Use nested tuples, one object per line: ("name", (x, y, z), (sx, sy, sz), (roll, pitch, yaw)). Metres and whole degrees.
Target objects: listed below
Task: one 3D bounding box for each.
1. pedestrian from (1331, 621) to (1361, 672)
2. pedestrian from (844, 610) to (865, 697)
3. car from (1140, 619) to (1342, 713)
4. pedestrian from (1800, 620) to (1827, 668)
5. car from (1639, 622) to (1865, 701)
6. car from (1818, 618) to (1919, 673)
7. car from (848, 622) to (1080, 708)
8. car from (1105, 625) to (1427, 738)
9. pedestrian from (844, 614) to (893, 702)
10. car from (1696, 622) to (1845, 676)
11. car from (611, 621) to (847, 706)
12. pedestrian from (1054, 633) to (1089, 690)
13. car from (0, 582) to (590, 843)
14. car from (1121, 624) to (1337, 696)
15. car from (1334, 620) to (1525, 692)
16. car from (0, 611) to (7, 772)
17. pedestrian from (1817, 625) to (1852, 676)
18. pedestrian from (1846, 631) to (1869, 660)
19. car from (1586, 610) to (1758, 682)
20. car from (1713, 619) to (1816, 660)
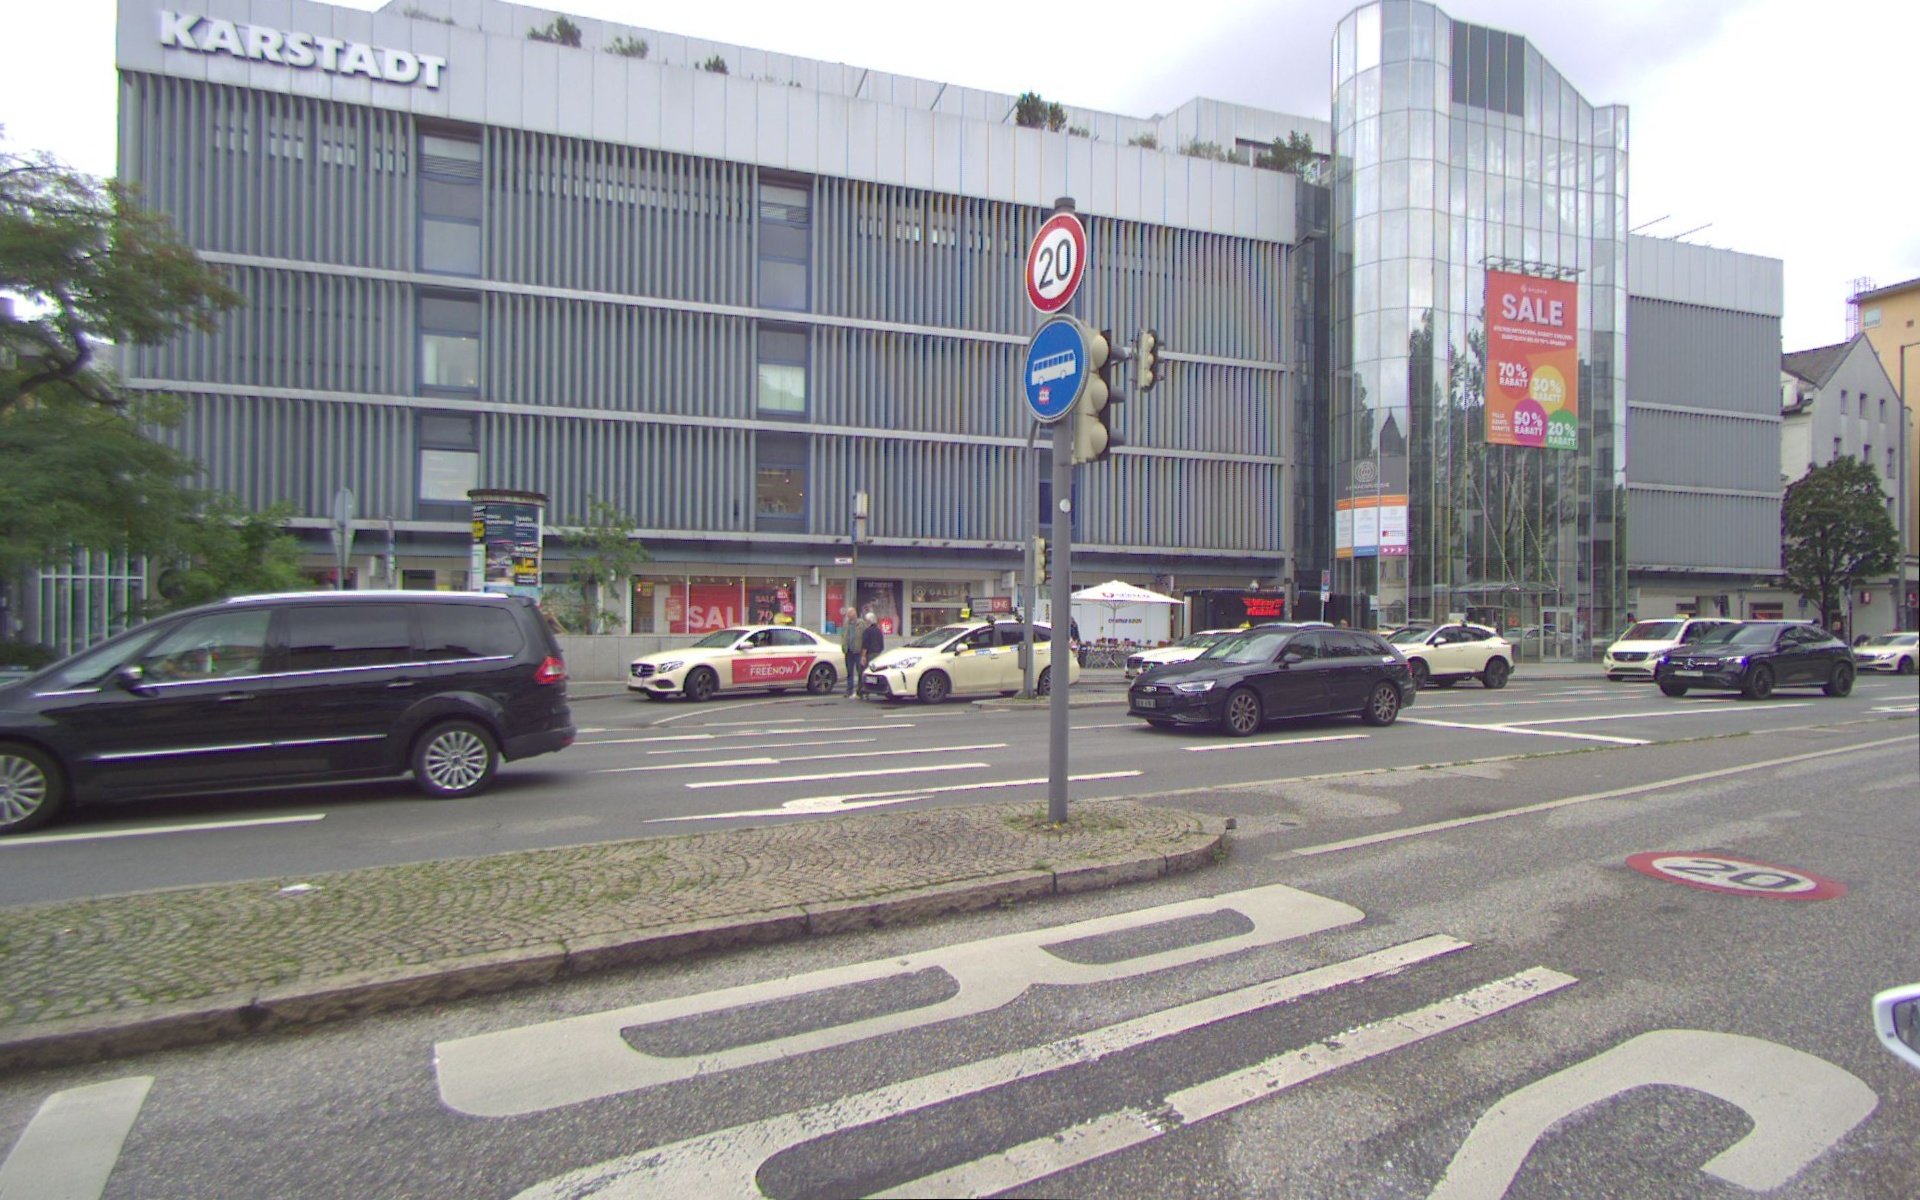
("pedestrian", (13.209, 1.585, 34.359), (0.700, 1.714, 0.651), (0, -1, -18))
("pedestrian", (-2.186, 1.107, 20.788), (0.348, 1.783, 0.447), (0, -1, 5))
("car", (5.109, 1.140, 18.263), (3.340, 1.572, 1.619), (1, -1, -27))
("pedestrian", (33.243, 1.700, 39.113), (0.618, 1.841, 0.557), (0, -1, -20))
("car", (17.175, 1.271, 21.777), (4.523, 1.554, 1.989), (1, -1, -24))
("car", (32.957, 1.577, 35.378), (4.457, 1.840, 1.994), (0, -1, -15))
("car", (0.113, 1.225, 20.235), (4.341, 1.563, 1.892), (1, -1, -30))
("car", (4.465, 1.073, 14.510), (4.544, 1.401, 1.837), (1, -1, -29))
("pedestrian", (-1.827, 1.131, 20.020), (0.741, 1.713, 0.768), (0, -1, -26))
("car", (26.904, 1.588, 33.348), (4.467, 1.677, 1.989), (1, 0, -23))
("car", (-4.641, 1.212, 20.654), (1.972, 1.556, 4.389), (-1, -2, 43))
("pedestrian", (2.744, 1.495, 24.733), (0.654, 1.371, 0.546), (1, -1, -25))
("car", (-5.632, 0.796, 8.388), (4.534, 1.762, 1.927), (1, -1, -30))
("car", (6.213, 1.331, 23.250), (4.566, 1.528, 1.990), (1, -1, -22))
("car", (11.786, 1.363, 25.272), (4.117, 1.701, 1.992), (1, -1, -18))
("car", (-11.146, 0.866, 8.422), (4.207, 1.635, 1.831), (1, -3, -30))
("pedestrian", (29.767, 1.704, 34.184), (0.685, 1.720, 0.622), (0, -1, -20))
("pedestrian", (41.920, 2.115, 46.923), (0.618, 1.307, 0.557), (0, -1, -20))
("car", (21.709, 1.359, 30.601), (5.451, 2.040, 1.987), (1, -1, -27))
("car", (36.334, 1.753, 45.362), (4.180, 1.795, 1.866), (1, -1, -22))
